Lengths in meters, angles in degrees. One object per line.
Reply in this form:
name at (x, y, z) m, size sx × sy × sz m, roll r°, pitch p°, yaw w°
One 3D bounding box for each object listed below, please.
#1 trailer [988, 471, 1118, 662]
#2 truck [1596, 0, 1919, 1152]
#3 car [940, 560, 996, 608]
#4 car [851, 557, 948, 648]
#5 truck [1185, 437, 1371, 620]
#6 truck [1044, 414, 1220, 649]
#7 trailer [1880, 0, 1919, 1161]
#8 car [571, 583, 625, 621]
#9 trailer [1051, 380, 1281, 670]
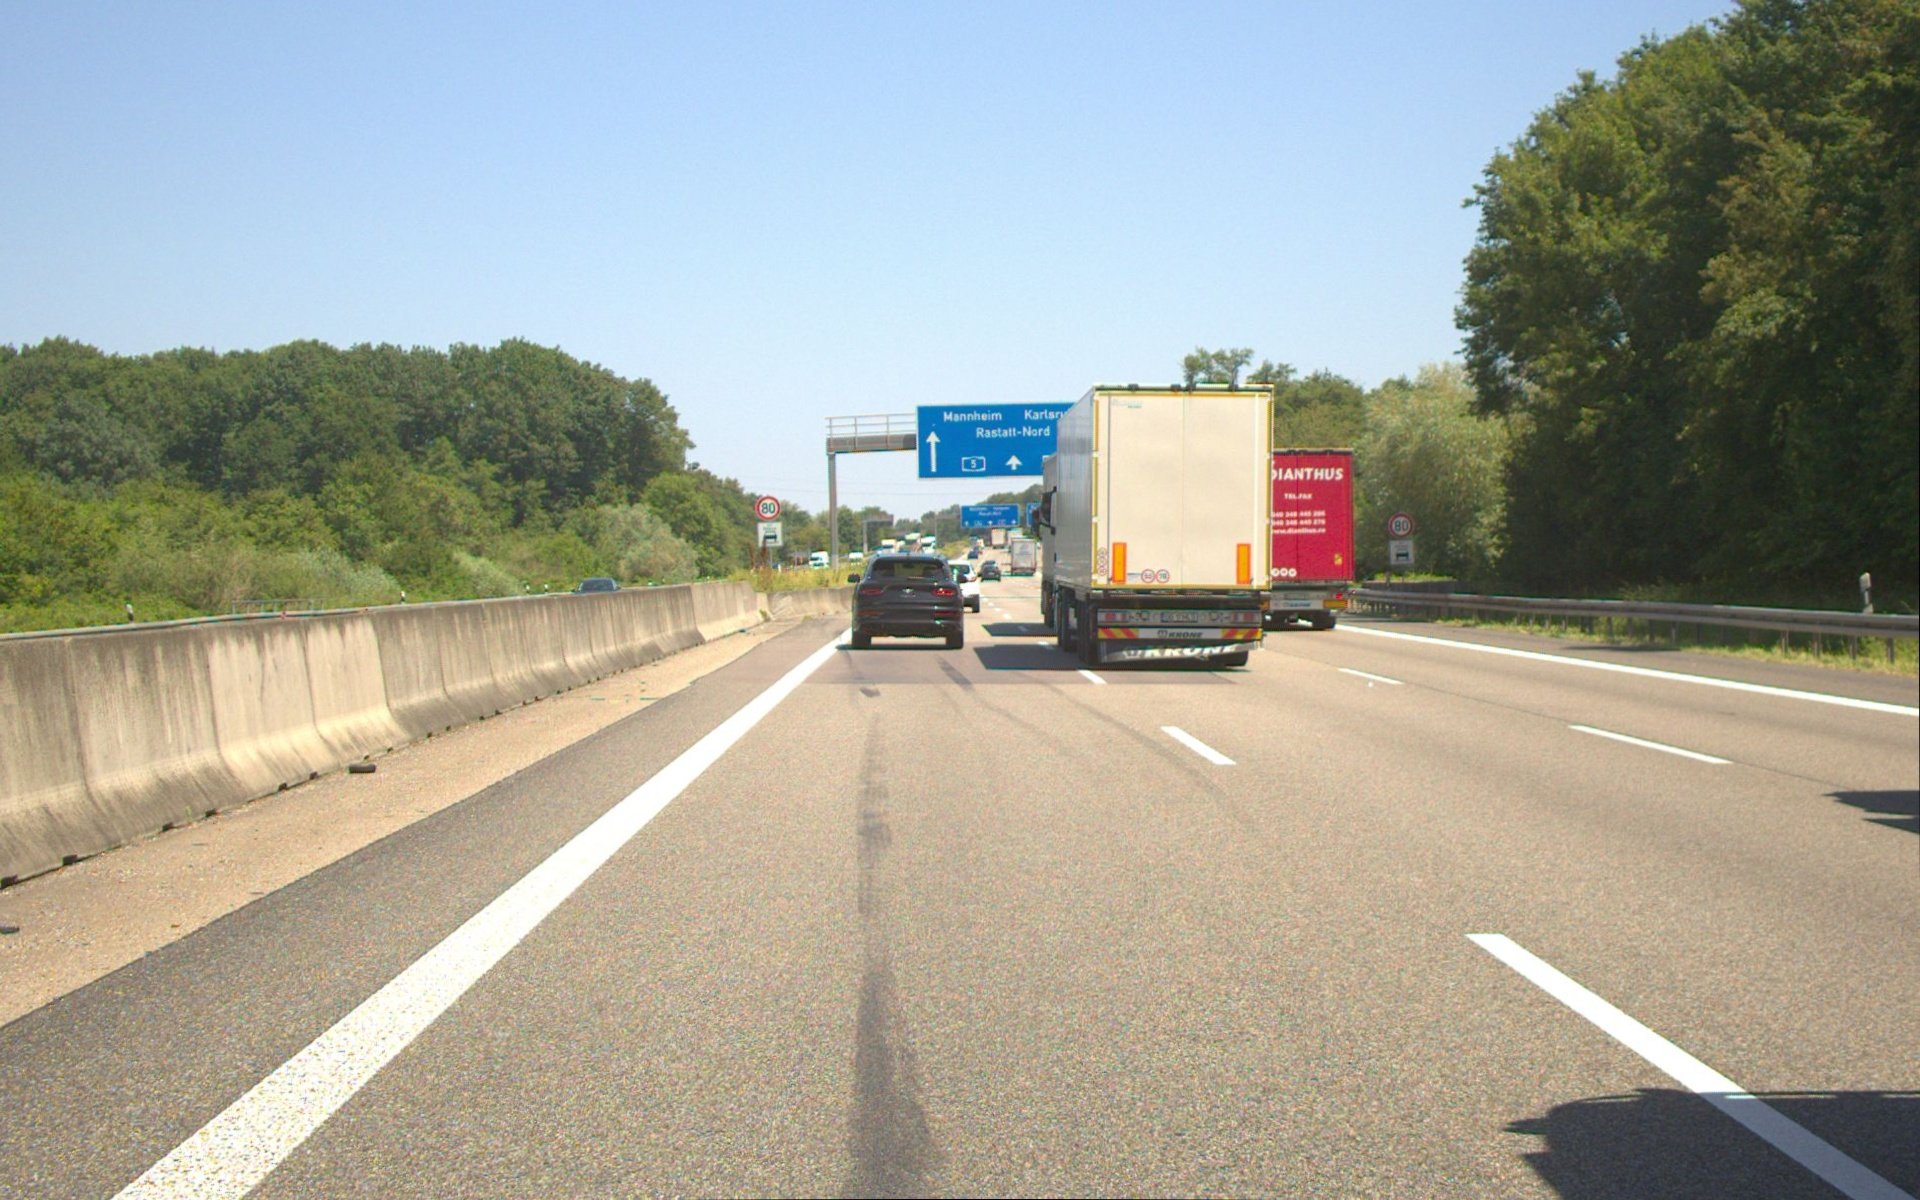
trailer at (2.045, -0.730, 80.497) m, size 2.707 × 4.054 × 14.746 m, roll 0°, pitch 0°, yaw 0°
truck at (3.883, -0.596, 9.665) m, size 2.941 × 3.972 × 6.102 m, roll 0°, pitch 0°, yaw -1°
car at (0.264, -0.509, 108.917) m, size 1.740 × 1.481 × 4.000 m, roll 0°, pitch 1°, yaw 1°
car at (-1.086, 0.022, 62.004) m, size 1.660 × 1.544 × 3.783 m, roll 1°, pitch 1°, yaw -1°
truck at (7.561, -1.663, 83.654) m, size 3.055 × 4.092 × 13.219 m, roll 0°, pitch 1°, yaw -1°
truck at (2.985, -1.199, 61.321) m, size 2.800 × 3.993 × 6.021 m, roll 0°, pitch 1°, yaw 0°
trailer at (4.023, -0.508, 0.907) m, size 2.937 × 4.004 × 16.201 m, roll 0°, pitch 1°, yaw -1°
car at (-14.672, 0.060, 139.412) m, size 1.769 × 1.466 × 4.000 m, roll -2°, pitch 1°, yaw 0°
trailer at (3.027, -1.116, 54.082) m, size 2.795 × 4.021 × 12.568 m, roll 0°, pitch 1°, yaw 0°
